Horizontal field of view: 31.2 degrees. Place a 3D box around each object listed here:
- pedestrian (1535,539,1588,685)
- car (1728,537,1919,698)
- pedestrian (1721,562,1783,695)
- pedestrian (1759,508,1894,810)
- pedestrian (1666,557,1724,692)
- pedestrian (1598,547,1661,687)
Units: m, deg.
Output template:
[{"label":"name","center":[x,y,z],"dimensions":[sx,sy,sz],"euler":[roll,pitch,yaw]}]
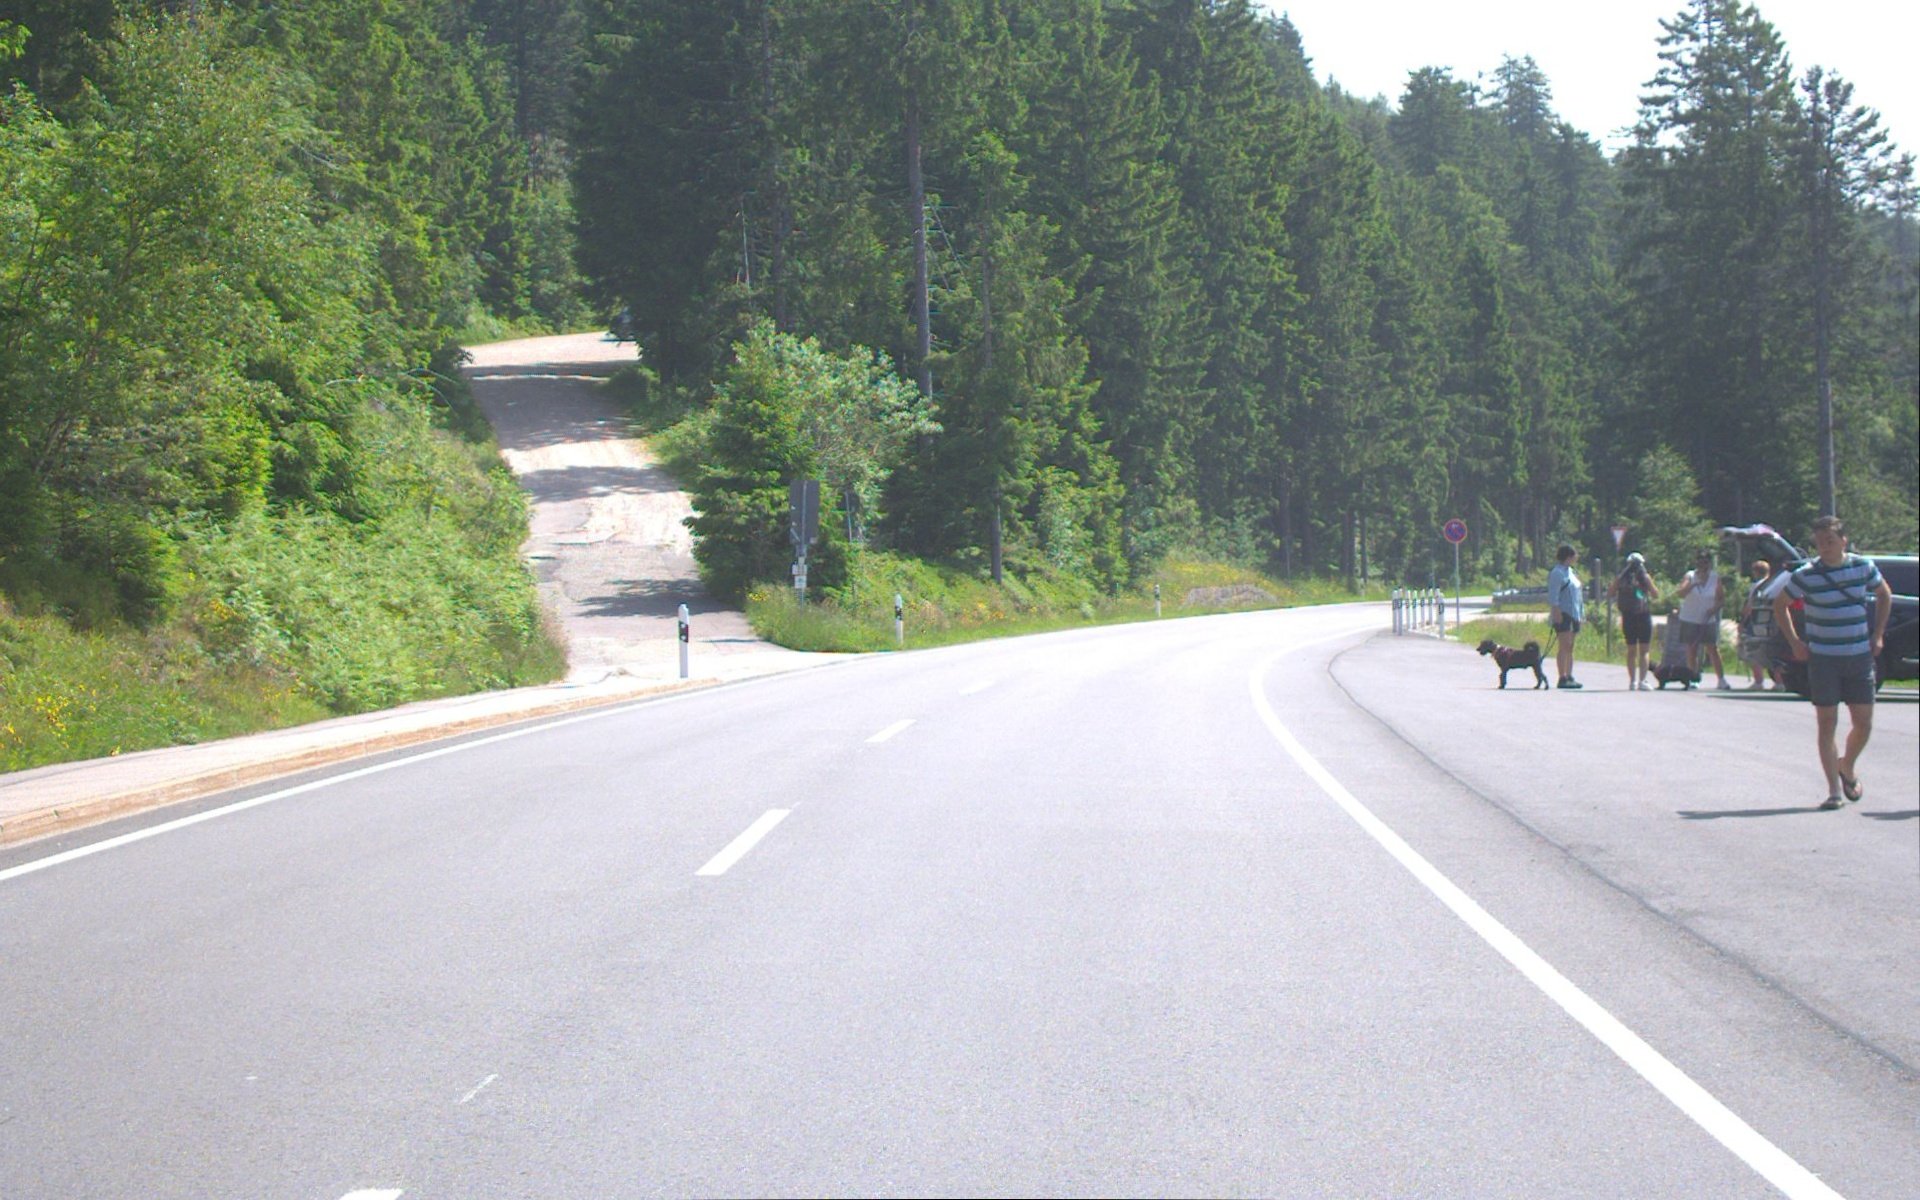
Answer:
[{"label":"pedestrian","center":[7.368,0.139,42.136],"dimensions":[0.617,1.769,0.723],"euler":[0,1,8]},{"label":"car","center":[11.231,0.177,39.718],"dimensions":[4.263,1.787,1.892],"euler":[0,2,-1]},{"label":"pedestrian","center":[9.689,0.346,42.064],"dimensions":[0.617,1.582,0.735],"euler":[-1,2,21]},{"label":"pedestrian","center":[5.165,0.338,20.483],"dimensions":[0.754,1.754,0.775],"euler":[0,1,15]},{"label":"pedestrian","center":[9.278,0.305,43.383],"dimensions":[0.653,1.654,0.687],"euler":[-1,2,14]},{"label":"pedestrian","center":[8.092,0.199,41.590],"dimensions":[0.716,1.686,0.619],"euler":[0,1,8]}]
